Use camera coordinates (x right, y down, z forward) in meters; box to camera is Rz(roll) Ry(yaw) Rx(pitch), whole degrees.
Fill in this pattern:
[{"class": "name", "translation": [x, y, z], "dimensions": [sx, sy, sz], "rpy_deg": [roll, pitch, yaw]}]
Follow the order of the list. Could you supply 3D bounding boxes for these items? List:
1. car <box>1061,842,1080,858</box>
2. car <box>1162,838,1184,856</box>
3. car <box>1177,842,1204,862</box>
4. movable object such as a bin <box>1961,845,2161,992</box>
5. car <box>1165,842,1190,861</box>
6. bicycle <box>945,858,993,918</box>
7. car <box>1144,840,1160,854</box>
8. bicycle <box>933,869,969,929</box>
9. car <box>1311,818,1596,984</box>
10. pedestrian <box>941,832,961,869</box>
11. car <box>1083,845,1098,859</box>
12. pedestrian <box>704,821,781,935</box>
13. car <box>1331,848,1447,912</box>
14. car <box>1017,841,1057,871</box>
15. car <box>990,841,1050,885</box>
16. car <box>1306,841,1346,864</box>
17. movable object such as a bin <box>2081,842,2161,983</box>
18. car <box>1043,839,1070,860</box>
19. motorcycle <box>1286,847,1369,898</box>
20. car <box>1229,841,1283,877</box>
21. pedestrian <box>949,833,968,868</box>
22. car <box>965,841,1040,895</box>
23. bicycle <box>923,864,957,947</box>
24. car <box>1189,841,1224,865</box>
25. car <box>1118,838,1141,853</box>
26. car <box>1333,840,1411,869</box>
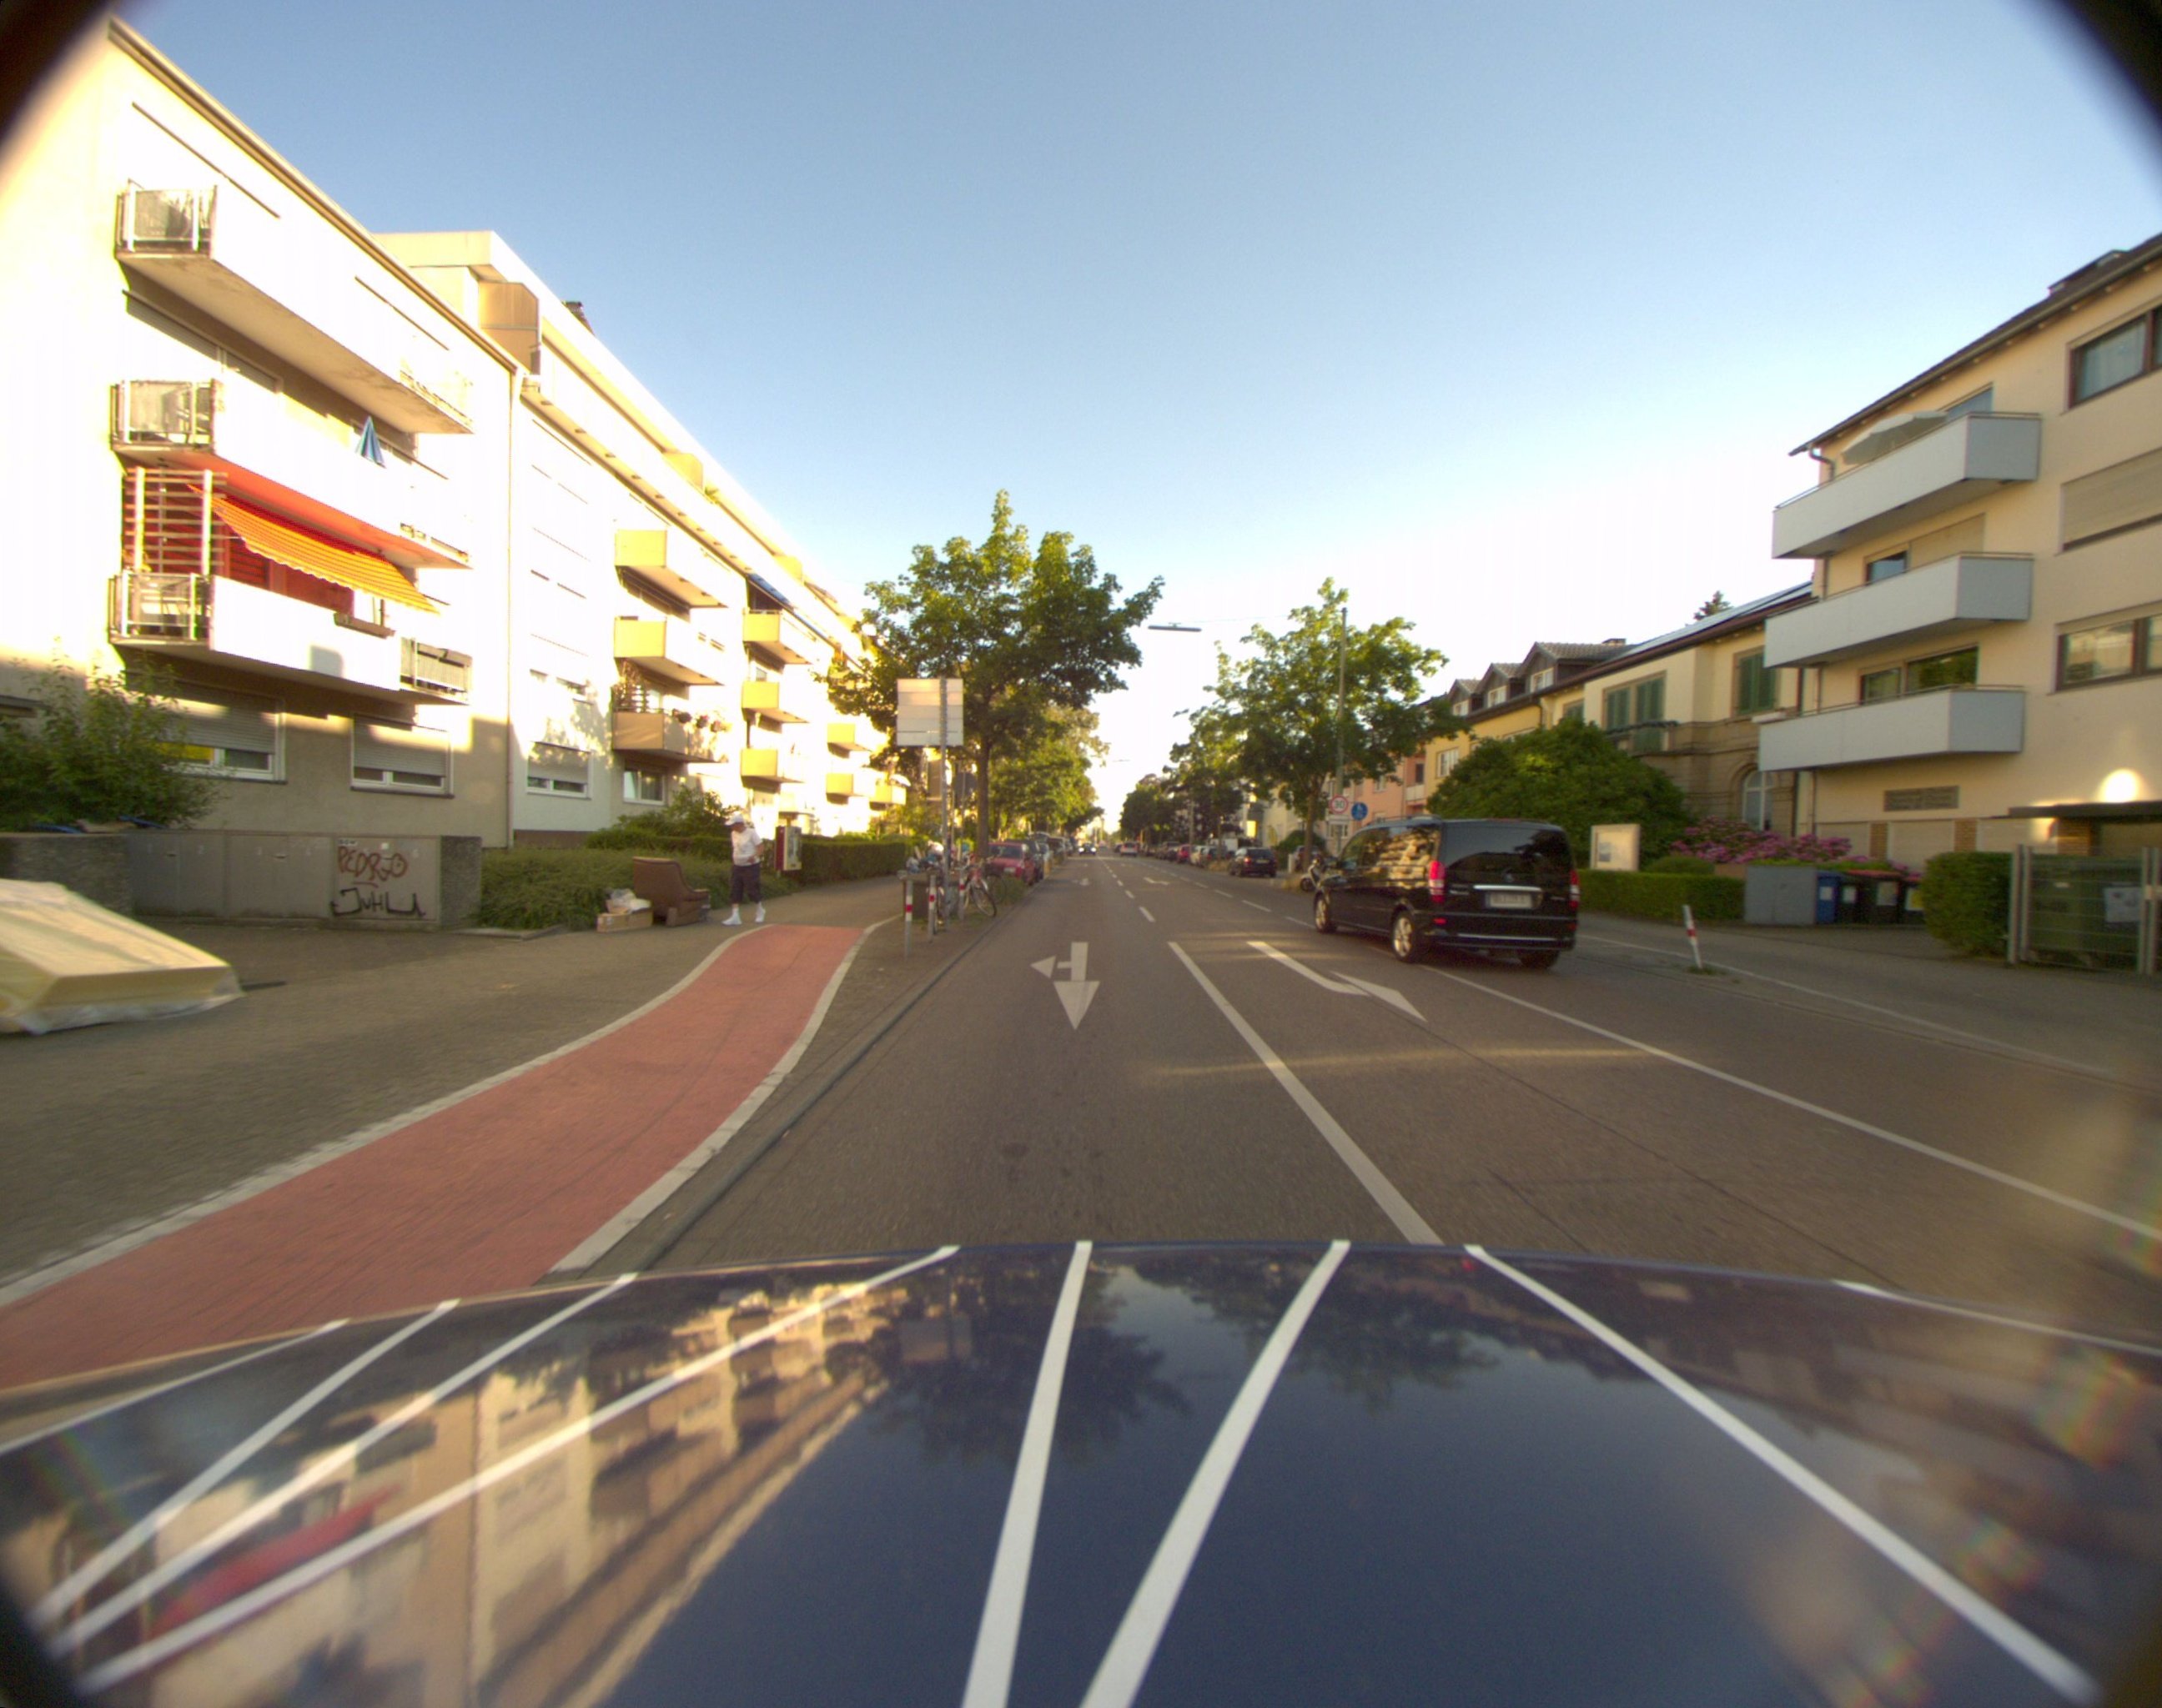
[{"class": "car", "translation": [-1.094, -0.435, 79.698], "dimensions": [1.744, 1.509, 3.810], "rpy_deg": [1, 1, 3]}, {"class": "car", "translation": [8.923, -0.679, 73.821], "dimensions": [1.692, 1.657, 3.659], "rpy_deg": [1, 1, 1]}, {"class": "car", "translation": [8.635, -0.182, 60.238], "dimensions": [1.642, 1.555, 3.659], "rpy_deg": [1, 1, 1]}, {"class": "movable object such as a bin", "translation": [12.290, 0.750, 9.447], "dimensions": [1.309, 1.649, 1.180], "rpy_deg": [-2, 2, 0]}, {"class": "car", "translation": [8.380, -0.273, 66.232], "dimensions": [1.692, 1.555, 3.659], "rpy_deg": [1, 1, 1]}, {"class": "bicycle", "translation": [-2.334, 0.676, 15.974], "dimensions": [0.324, 1.138, 1.802], "rpy_deg": [2, 1, 14]}, {"class": "car", "translation": [8.601, -0.877, 92.441], "dimensions": [1.642, 1.555, 3.659], "rpy_deg": [1, 1, 1]}, {"class": "bicycle", "translation": [-2.347, 0.796, 13.796], "dimensions": [0.325, 0.981, 1.191], "rpy_deg": [1, 1, 5]}, {"class": "car", "translation": [4.914, 0.497, 10.879], "dimensions": [1.842, 1.866, 4.408], "rpy_deg": [1, 1, 0]}, {"class": "pedestrian", "translation": [-6.061, -0.172, 35.407], "dimensions": [0.659, 1.673, 0.831], "rpy_deg": [2, 2, 6]}, {"class": "car", "translation": [1.057, -0.294, 89.327], "dimensions": [1.641, 1.482, 4.414], "rpy_deg": [2, 1, 0]}, {"class": "pedestrian", "translation": [-5.183, 0.357, 11.659], "dimensions": [0.830, 1.673, 0.660], "rpy_deg": [2, 2, 4]}, {"class": "car", "translation": [8.179, 0.626, 20.527], "dimensions": [1.755, 1.526, 3.571], "rpy_deg": [1, 1, 2]}, {"class": "car", "translation": [-2.362, 0.062, 41.712], "dimensions": [1.744, 1.509, 3.810], "rpy_deg": [1, 1, 3]}, {"class": "car", "translation": [-2.227, 0.281, 28.526], "dimensions": [1.744, 1.509, 3.810], "rpy_deg": [1, 1, 3]}, {"class": "car", "translation": [17.796, -0.128, 55.393], "dimensions": [1.841, 1.605, 4.410], "rpy_deg": [1, 1, 5]}, {"class": "movable object such as a bin", "translation": [13.672, 0.699, 9.295], "dimensions": [1.309, 1.649, 1.180], "rpy_deg": [-2, 2, 0]}, {"class": "car", "translation": [-1.826, -0.368, 58.520], "dimensions": [1.744, 1.509, 3.810], "rpy_deg": [1, 1, 3]}, {"class": "motorcycle", "translation": [8.059, 0.571, 25.066], "dimensions": [1.263, 1.526, 2.887], "rpy_deg": [1, 1, -14]}, {"class": "car", "translation": [8.516, 0.197, 37.342], "dimensions": [1.734, 1.605, 4.196], "rpy_deg": [1, 1, 1]}, {"class": "pedestrian", "translation": [-5.942, -0.185, 36.963], "dimensions": [0.659, 1.673, 0.831], "rpy_deg": [2, 2, 6]}, {"class": "car", "translation": [-2.365, 0.360, 23.686], "dimensions": [1.744, 1.509, 3.810], "rpy_deg": [1, 1, 3]}, {"class": "bicycle", "translation": [-2.200, 0.765, 11.960], "dimensions": [0.325, 1.138, 1.799], "rpy_deg": [1, 1, -4]}, {"class": "car", "translation": [8.943, -0.122, 54.487], "dimensions": [1.842, 1.605, 4.409], "rpy_deg": [1, 1, 1]}, {"class": "car", "translation": [5.645, -1.026, 89.305], "dimensions": [1.843, 1.605, 4.406], "rpy_deg": [1, 1, -7]}, {"class": "car", "translation": [16.944, 0.039, 44.171], "dimensions": [4.417, 1.605, 1.838], "rpy_deg": [0, 2, -30]}]
